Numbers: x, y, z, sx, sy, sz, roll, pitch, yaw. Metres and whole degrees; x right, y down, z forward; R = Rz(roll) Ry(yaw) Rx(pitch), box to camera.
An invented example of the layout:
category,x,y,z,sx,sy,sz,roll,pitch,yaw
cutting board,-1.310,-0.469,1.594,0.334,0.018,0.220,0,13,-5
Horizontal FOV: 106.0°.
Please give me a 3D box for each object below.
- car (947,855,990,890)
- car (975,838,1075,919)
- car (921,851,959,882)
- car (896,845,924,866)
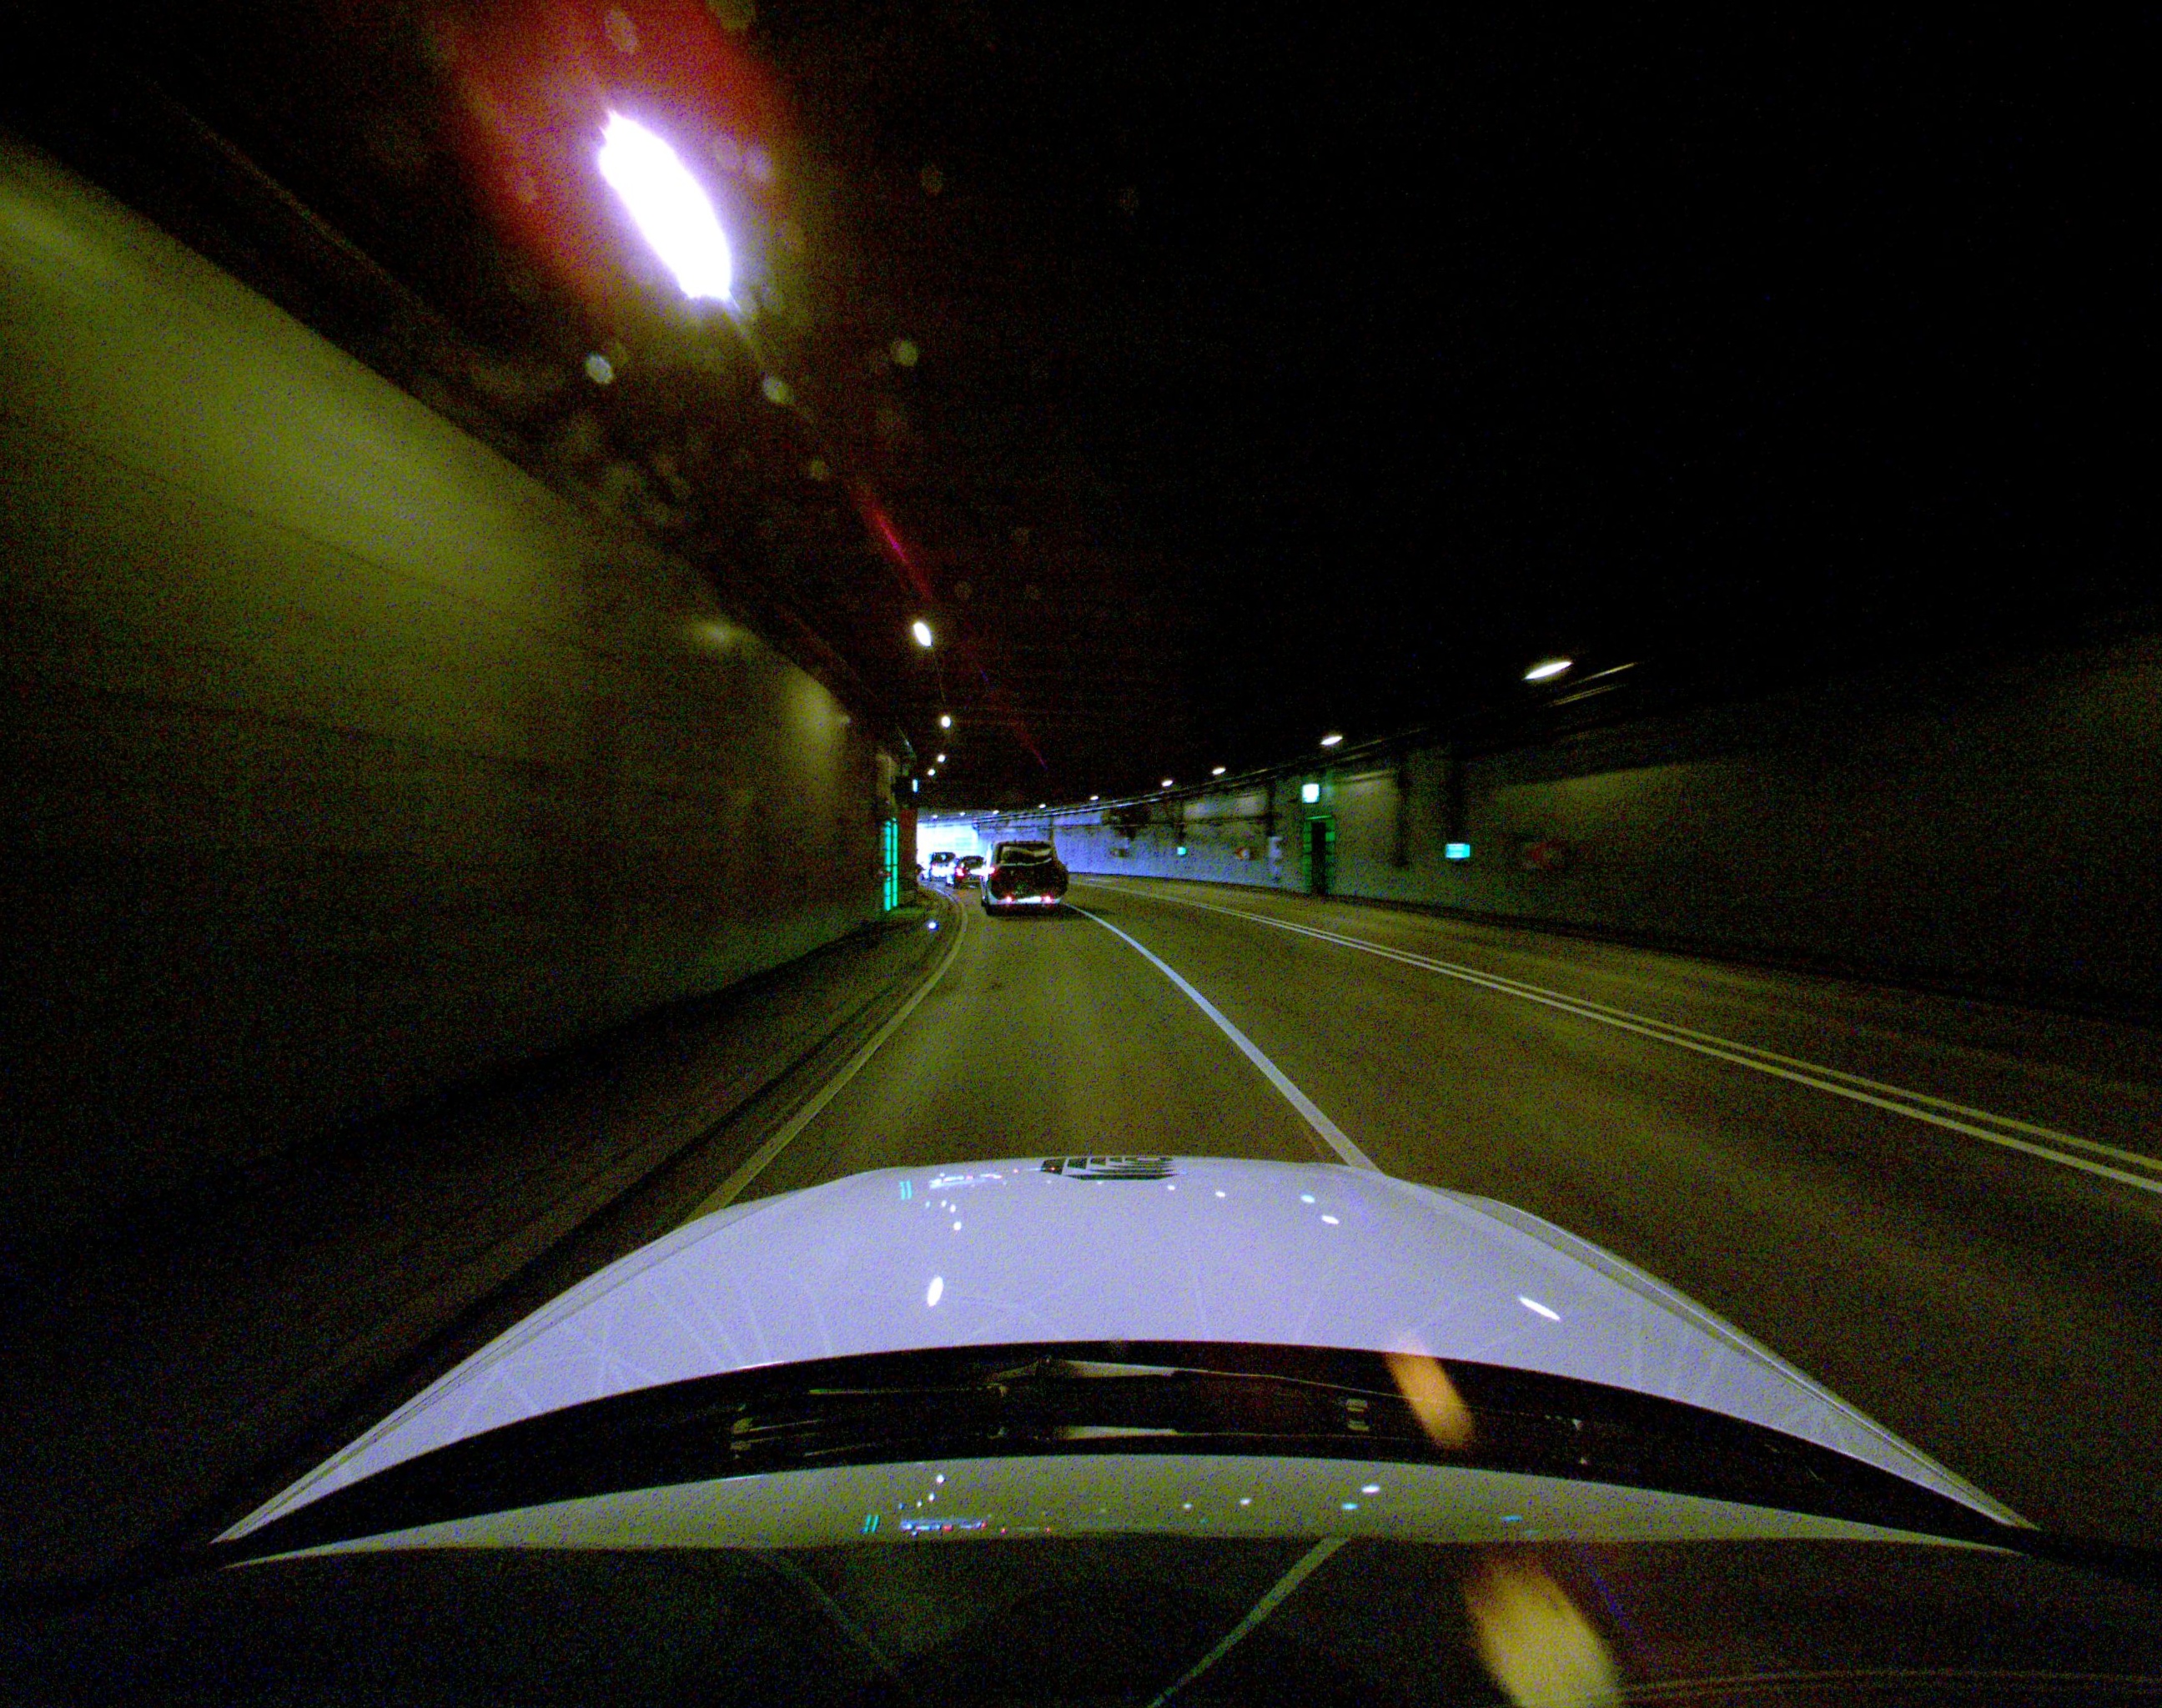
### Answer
category,x,y,z,sx,sy,sz,roll,pitch,yaw
car,-4.947,0.763,35.542,1.604,1.395,3.263,-1,1,-13
car,-1.621,0.536,21.387,1.994,1.847,5.281,-1,1,-11
car,-7.776,0.672,44.702,1.607,1.594,3.335,1,-1,-18
car,-13.802,0.170,65.634,1.610,1.630,3.328,0,-1,-24
